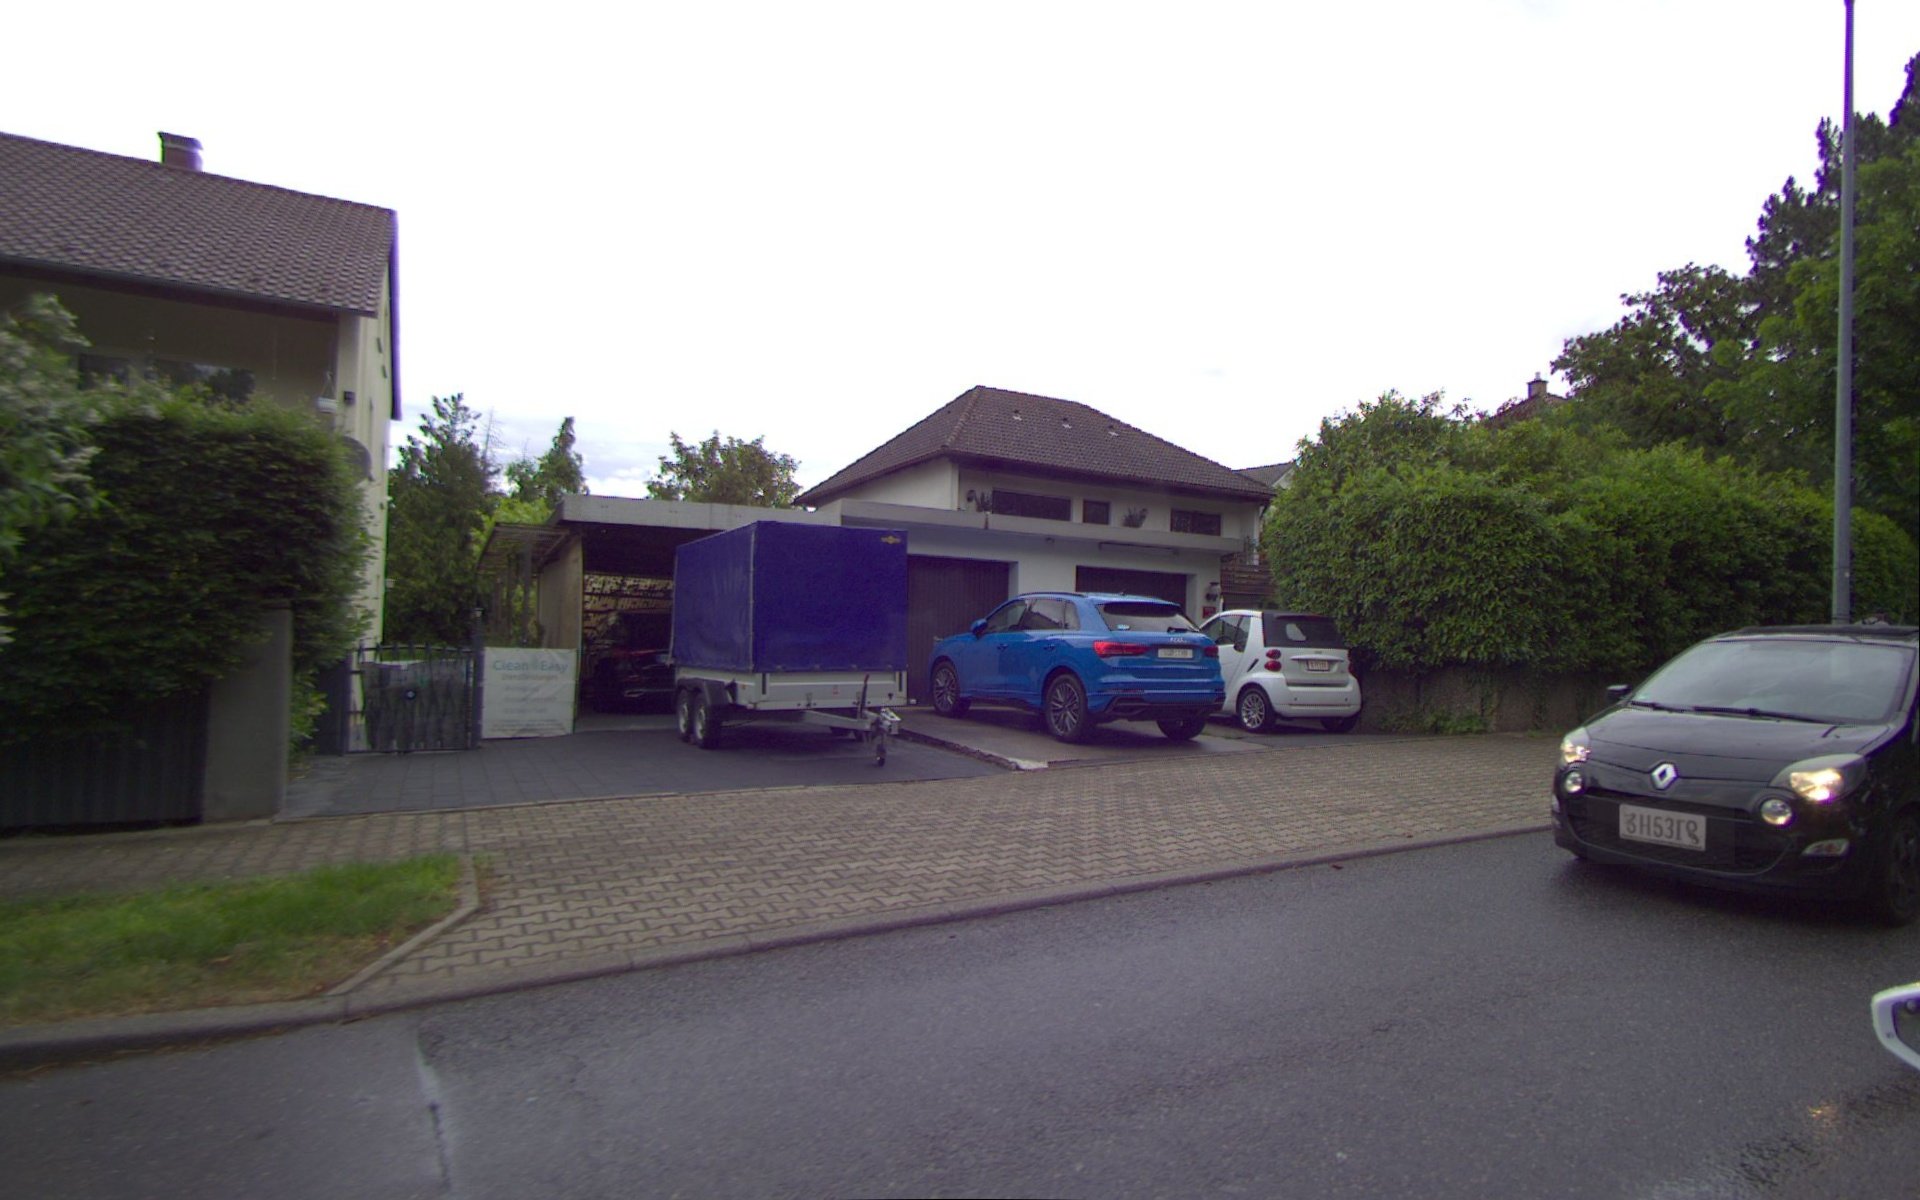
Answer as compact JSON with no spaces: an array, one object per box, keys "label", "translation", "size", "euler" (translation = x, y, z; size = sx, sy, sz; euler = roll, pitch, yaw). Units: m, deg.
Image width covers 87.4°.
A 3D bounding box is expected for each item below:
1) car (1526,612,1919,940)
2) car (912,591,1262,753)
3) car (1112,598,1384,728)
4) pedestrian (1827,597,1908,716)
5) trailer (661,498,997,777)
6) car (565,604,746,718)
[{"label":"car","translation":[5.431,0.845,6.226],"size":[3.848,1.497,1.577],"euler":[1,-1,-29]},{"label":"car","translation":[1.290,0.699,12.020],"size":[2.028,1.560,4.218],"euler":[2,0,-30]},{"label":"car","translation":[3.866,0.779,13.959],"size":[1.710,1.539,3.387],"euler":[2,0,-30]},{"label":"pedestrian","translation":[13.386,0.808,14.816],"size":[0.837,1.684,0.770],"euler":[1,0,-41]},{"label":"trailer","translation":[-1.610,0.304,10.376],"size":[1.793,2.200,4.598],"euler":[2,0,-30]},{"label":"car","translation":[-4.741,0.830,15.293],"size":[1.811,1.448,3.830],"euler":[2,0,-30]}]
